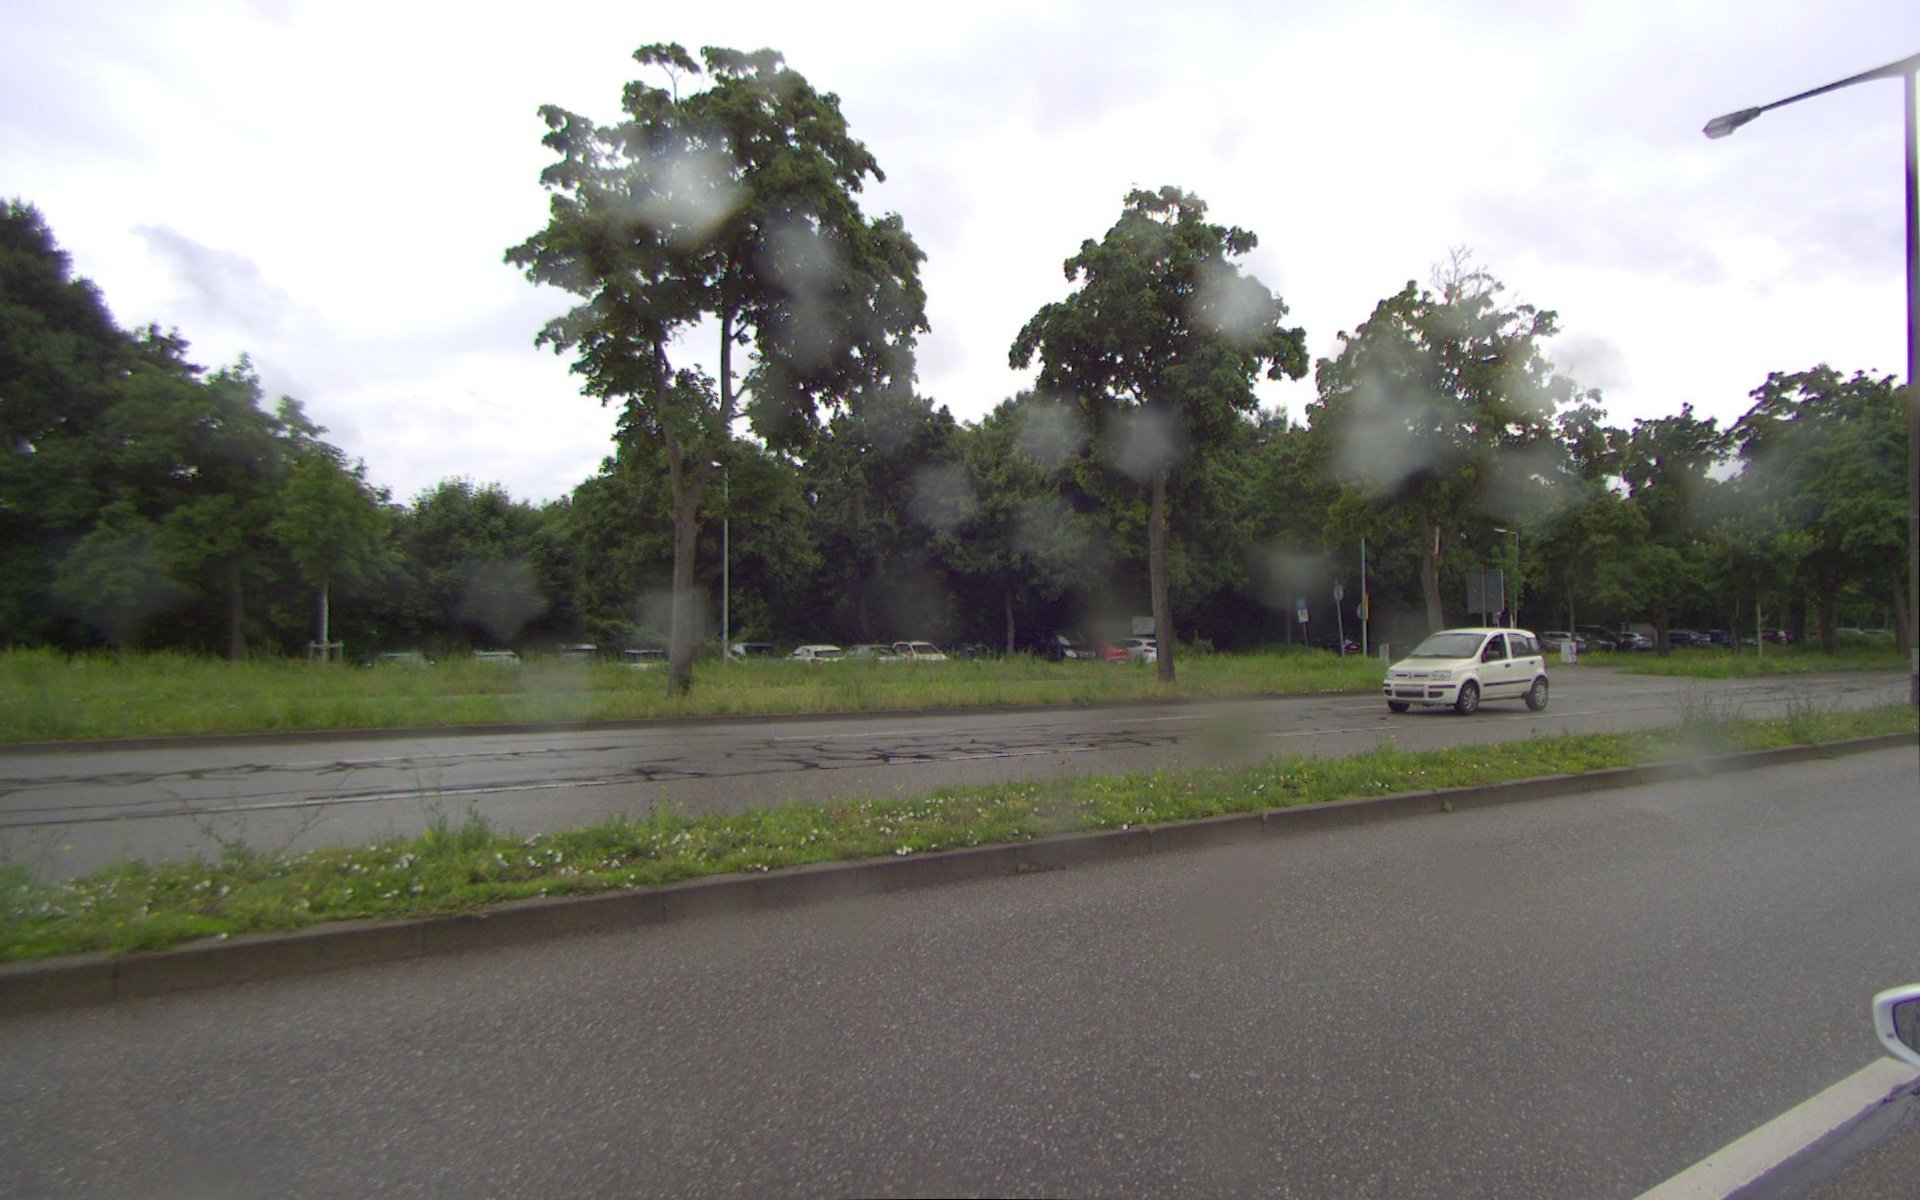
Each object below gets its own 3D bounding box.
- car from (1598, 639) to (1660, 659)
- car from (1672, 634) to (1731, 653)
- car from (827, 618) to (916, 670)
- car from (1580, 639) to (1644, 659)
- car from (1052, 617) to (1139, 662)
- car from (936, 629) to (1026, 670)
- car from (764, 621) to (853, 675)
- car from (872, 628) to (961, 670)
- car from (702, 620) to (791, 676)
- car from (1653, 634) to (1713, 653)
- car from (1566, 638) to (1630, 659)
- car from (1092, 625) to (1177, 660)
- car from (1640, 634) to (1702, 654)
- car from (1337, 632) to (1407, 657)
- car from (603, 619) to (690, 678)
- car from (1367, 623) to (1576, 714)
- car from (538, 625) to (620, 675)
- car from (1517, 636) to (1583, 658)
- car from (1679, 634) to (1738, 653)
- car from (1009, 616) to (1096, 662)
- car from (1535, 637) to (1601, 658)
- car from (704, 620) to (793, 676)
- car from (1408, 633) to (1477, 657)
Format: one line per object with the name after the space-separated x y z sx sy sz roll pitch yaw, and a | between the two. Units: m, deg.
52.112 3.820 78.300 1.509 1.471 3.811 1 -2 -35 | car
61.292 3.566 83.052 1.515 1.471 3.796 2 -2 -45 | car
-3.674 1.762 41.212 1.980 2.040 3.961 1 -2 -35 | car
50.039 3.727 77.130 1.509 1.471 3.811 1 -2 -35 | car
6.406 1.834 47.790 1.980 2.040 3.961 1 -2 -35 | car
0.861 2.119 43.823 1.980 1.639 3.961 1 -1 -35 | car
-6.094 1.875 40.152 1.980 2.040 3.961 1 -2 -35 | car
-1.875 2.035 42.628 1.980 1.639 3.961 1 -1 -35 | car
-8.249 1.804 38.628 1.980 2.040 3.961 1 -2 -35 | car
58.833 3.490 81.817 1.515 1.471 3.796 2 -2 -45 | car
47.983 3.630 75.581 1.509 1.471 3.811 1 -2 -35 | car
8.467 2.033 49.041 1.892 1.661 3.961 1 -2 -35 | car
56.909 3.498 80.465 1.513 1.471 3.801 1 -2 -42 | car
24.789 2.645 60.547 1.473 1.445 3.710 1 -2 -35 | car
-11.590 1.745 37.025 1.980 2.040 3.961 1 -2 -35 | car
9.817 1.269 19.242 3.952 1.574 1.676 2 -2 -29 | car
-13.560 1.723 35.609 1.805 1.661 3.961 1 -2 -35 | car
41.918 3.329 71.453 1.509 1.471 3.811 1 -2 -35 | car
62.718 3.615 84.158 1.515 1.471 3.796 2 -2 -45 | car
4.227 1.765 46.495 1.980 2.040 3.961 1 -2 -35 | car
44.083 3.439 72.855 1.509 1.471 3.811 1 -2 -35 | car
-8.202 1.809 38.675 1.980 2.040 3.961 1 -2 -35 | car
31.074 2.852 64.757 1.509 1.471 3.811 1 -2 -35 | car
